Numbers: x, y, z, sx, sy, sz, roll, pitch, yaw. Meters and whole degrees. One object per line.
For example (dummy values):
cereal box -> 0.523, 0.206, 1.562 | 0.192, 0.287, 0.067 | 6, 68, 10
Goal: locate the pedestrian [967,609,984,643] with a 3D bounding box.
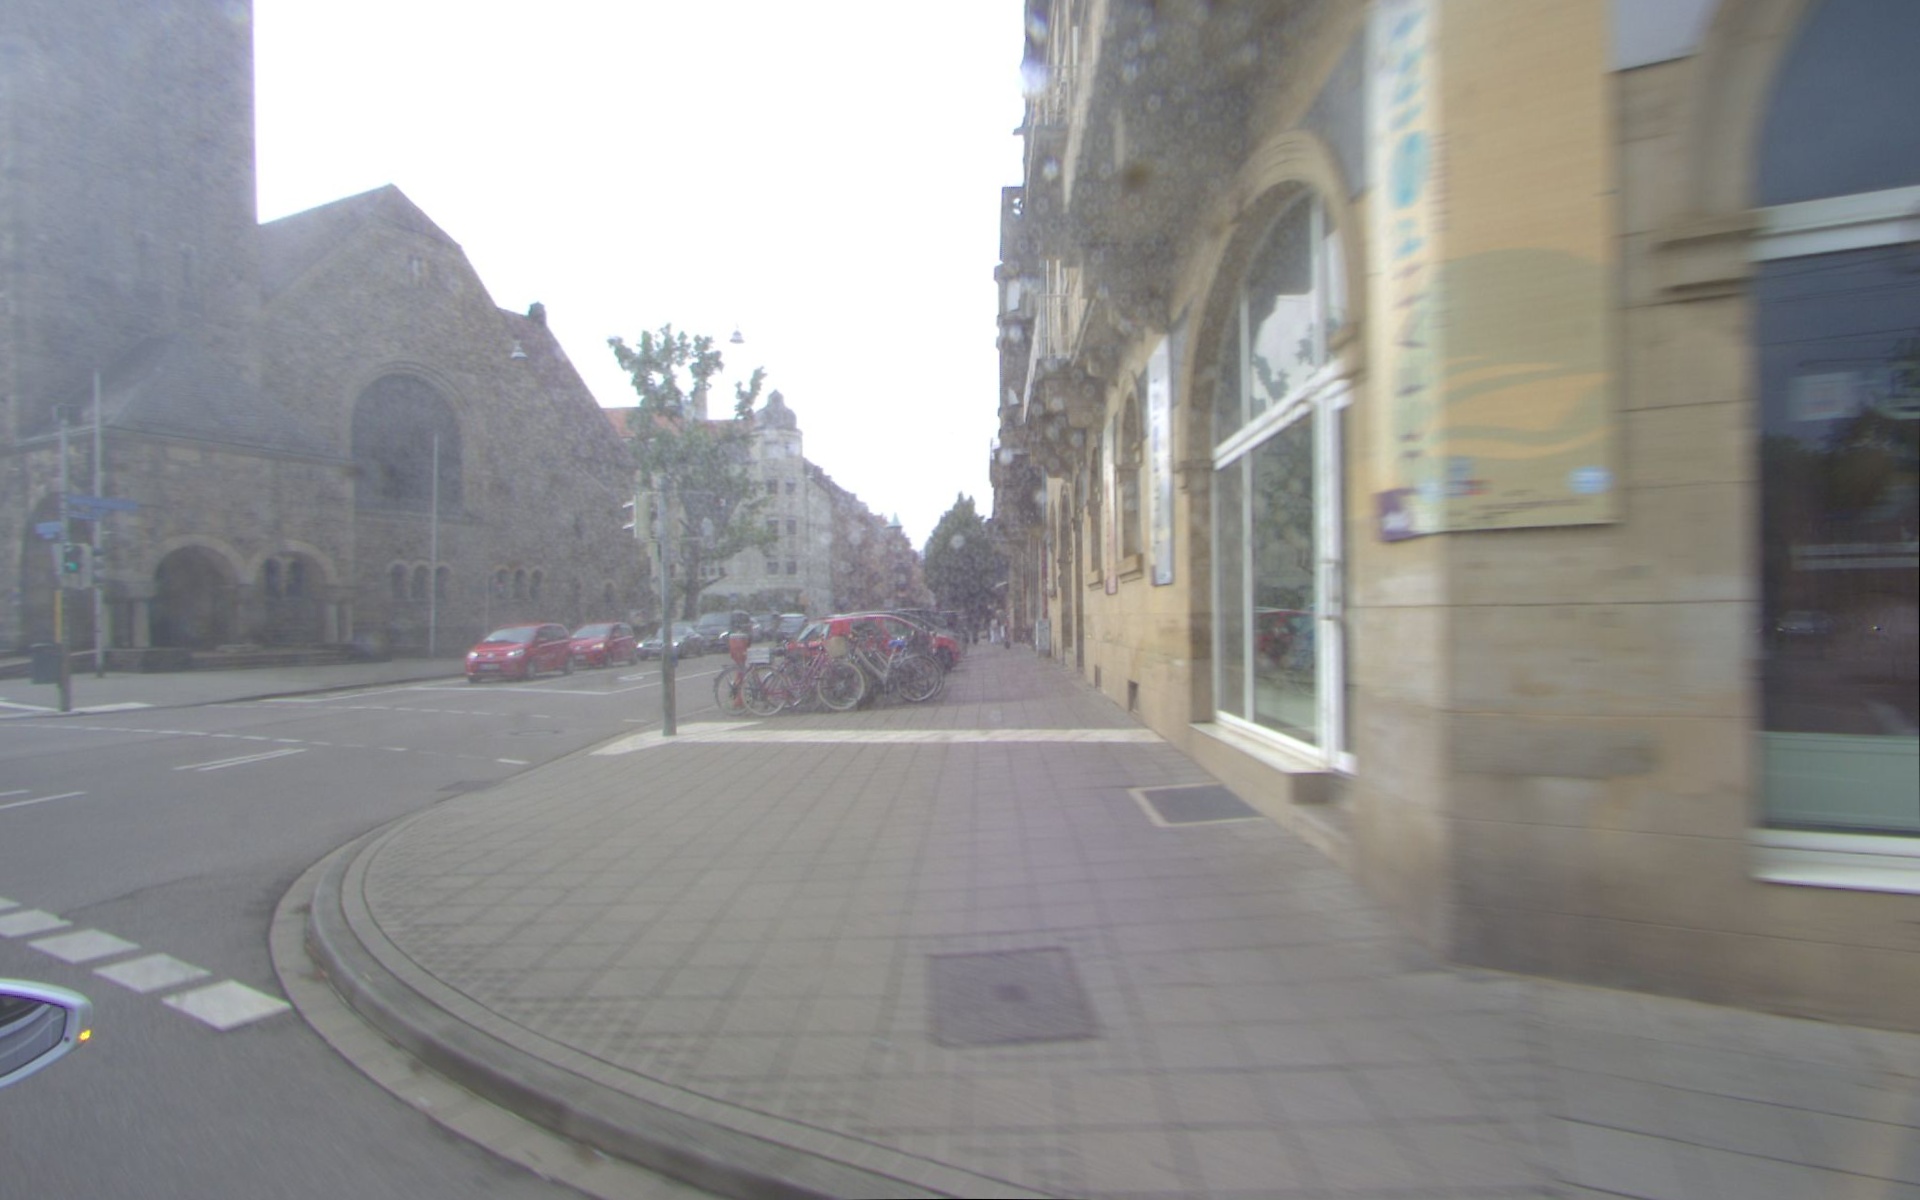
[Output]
pedestrian -> 0.687, 1.185, 45.739 | 0.556, 1.549, 0.549 | 1, -2, -41

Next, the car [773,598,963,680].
car -> -1.912, 0.795, 21.568 | 3.797, 1.581, 1.778 | -1, -2, -45

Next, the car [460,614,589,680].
car -> -11.619, 1.194, 26.976 | 1.622, 1.548, 3.893 | -2, 0, 2

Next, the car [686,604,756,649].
car -> -11.080, 1.228, 46.813 | 1.881, 1.980, 5.284 | 0, -1, 2

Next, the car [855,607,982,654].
car -> -1.484, 1.089, 36.704 | 4.411, 1.572, 1.838 | -1, -1, -37

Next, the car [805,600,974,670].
car -> -1.908, 0.946, 27.374 | 4.167, 1.704, 1.906 | -1, -2, -33

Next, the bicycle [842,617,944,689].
bicycle -> -1.201, 0.961, 18.208 | 1.750, 1.187, 0.496 | -3, -1, 1

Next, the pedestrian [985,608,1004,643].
pedestrian -> 1.528, 1.143, 44.641 | 0.634, 1.549, 0.577 | 1, -2, -41

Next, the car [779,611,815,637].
car -> -12.850, 1.871, 79.238 | 1.813, 1.965, 4.548 | 0, -1, 3

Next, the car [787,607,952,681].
car -> -2.169, 1.061, 24.489 | 3.546, 1.528, 1.835 | -3, -1, -40

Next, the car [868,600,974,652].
car -> -1.637, 1.088, 42.717 | 4.233, 1.932, 1.864 | -3, 1, -40

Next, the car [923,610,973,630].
car -> -1.363, 2.299, 115.994 | 5.549, 2.154, 1.939 | 0, -1, -33

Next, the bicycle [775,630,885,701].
bicycle -> -2.129, 1.080, 16.490 | 1.705, 1.052, 0.476 | -3, -2, 1

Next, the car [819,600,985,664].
car -> -1.730, 0.969, 30.611 | 4.690, 1.707, 1.925 | -2, -1, -35

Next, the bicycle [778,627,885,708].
bicycle -> -1.987, 1.038, 15.560 | 1.542, 1.141, 0.476 | -3, -1, 1

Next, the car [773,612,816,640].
car -> -10.476, 1.628, 63.737 | 1.815, 1.706, 4.549 | 0, -1, 2

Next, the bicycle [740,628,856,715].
bicycle -> -2.339, 1.032, 14.536 | 1.542, 1.141, 0.476 | -3, -1, 1

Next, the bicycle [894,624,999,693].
bicycle -> -0.217, 0.992, 17.020 | 1.705, 1.052, 0.476 | -3, -2, 1

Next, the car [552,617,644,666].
car -> -11.791, 1.342, 32.858 | 1.576, 1.475, 3.719 | -2, -2, 0

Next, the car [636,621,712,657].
car -> -11.325, 1.524, 39.888 | 1.677, 1.303, 4.043 | -2, -2, 2

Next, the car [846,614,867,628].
car -> -12.054, 2.479, 116.553 | 1.912, 1.638, 3.944 | 1, -1, 1

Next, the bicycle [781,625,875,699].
bicycle -> -2.317, 1.088, 17.656 | 1.542, 1.187, 0.476 | -3, -1, 1

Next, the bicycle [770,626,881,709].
bicycle -> -2.012, 1.008, 15.045 | 1.542, 1.141, 0.476 | -3, -1, 1

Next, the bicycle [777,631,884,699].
bicycle -> -2.205, 1.108, 17.140 | 1.705, 1.052, 0.476 | -3, -2, 1
